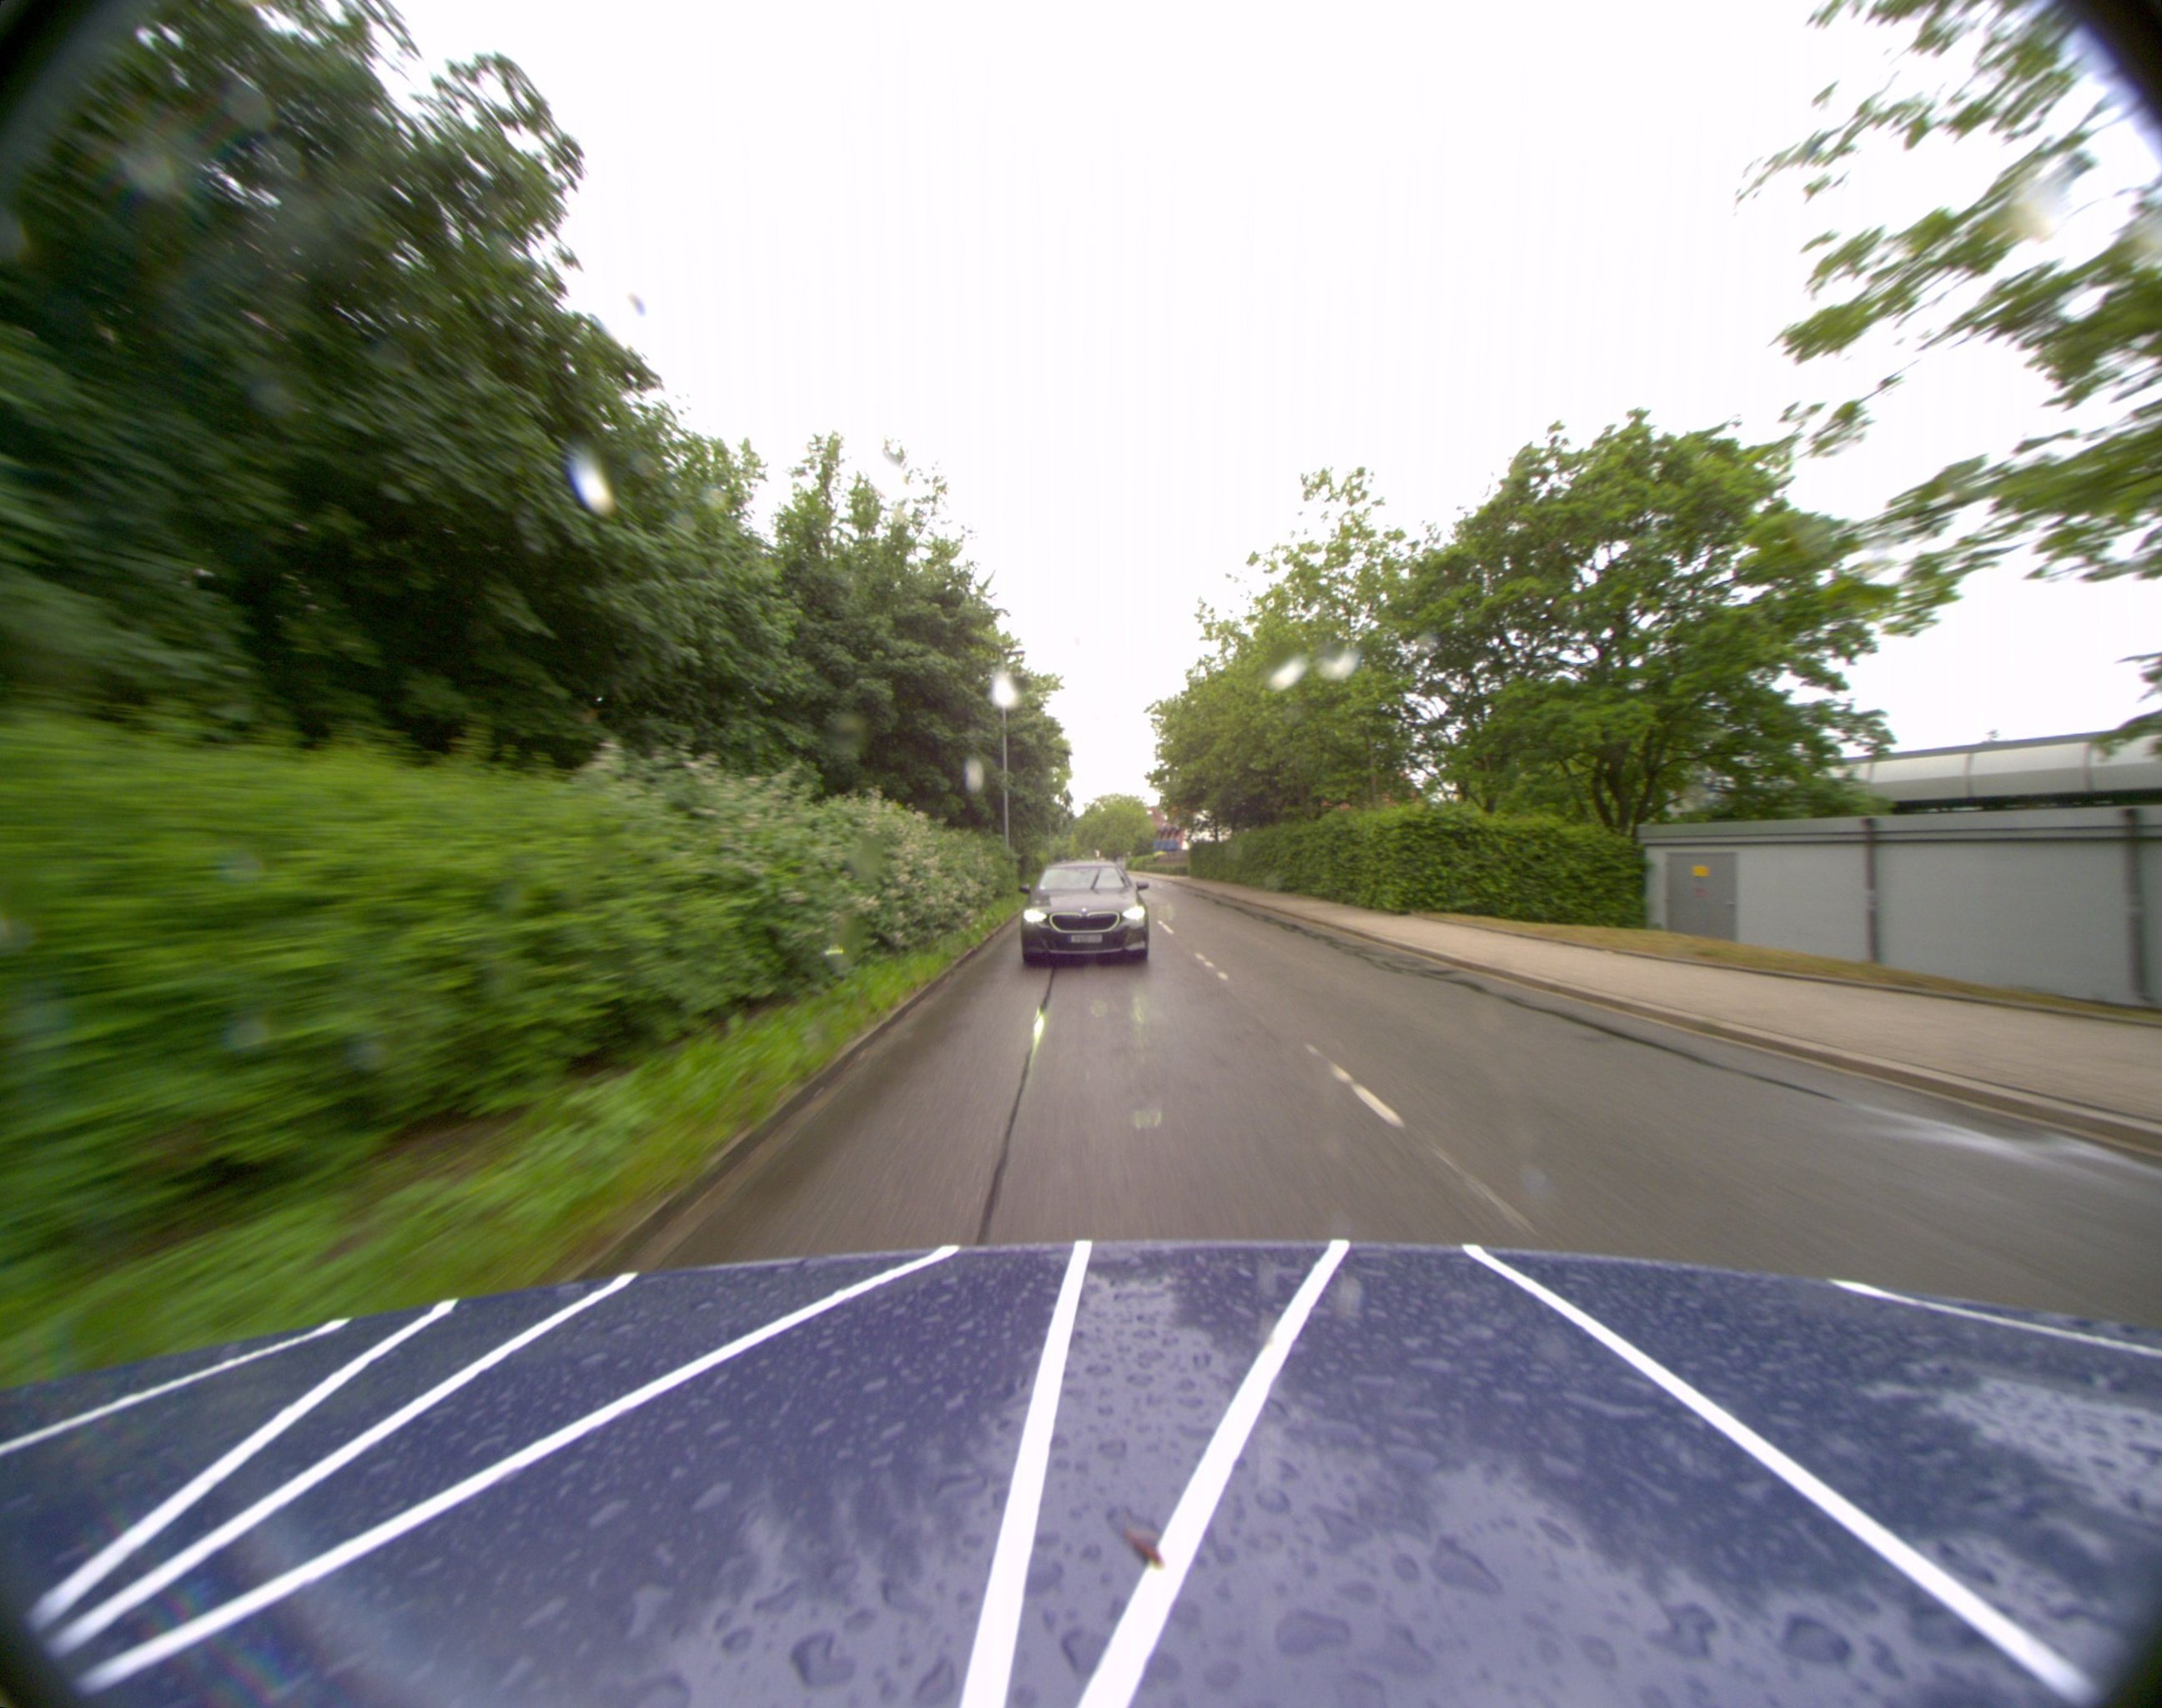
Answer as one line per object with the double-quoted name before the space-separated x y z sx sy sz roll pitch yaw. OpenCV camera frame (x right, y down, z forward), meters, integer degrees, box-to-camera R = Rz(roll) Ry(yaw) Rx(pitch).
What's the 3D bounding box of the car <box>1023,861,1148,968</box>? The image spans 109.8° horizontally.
"car" 0.044 0.933 13.655 1.832 1.499 4.498 -2 0 -1
